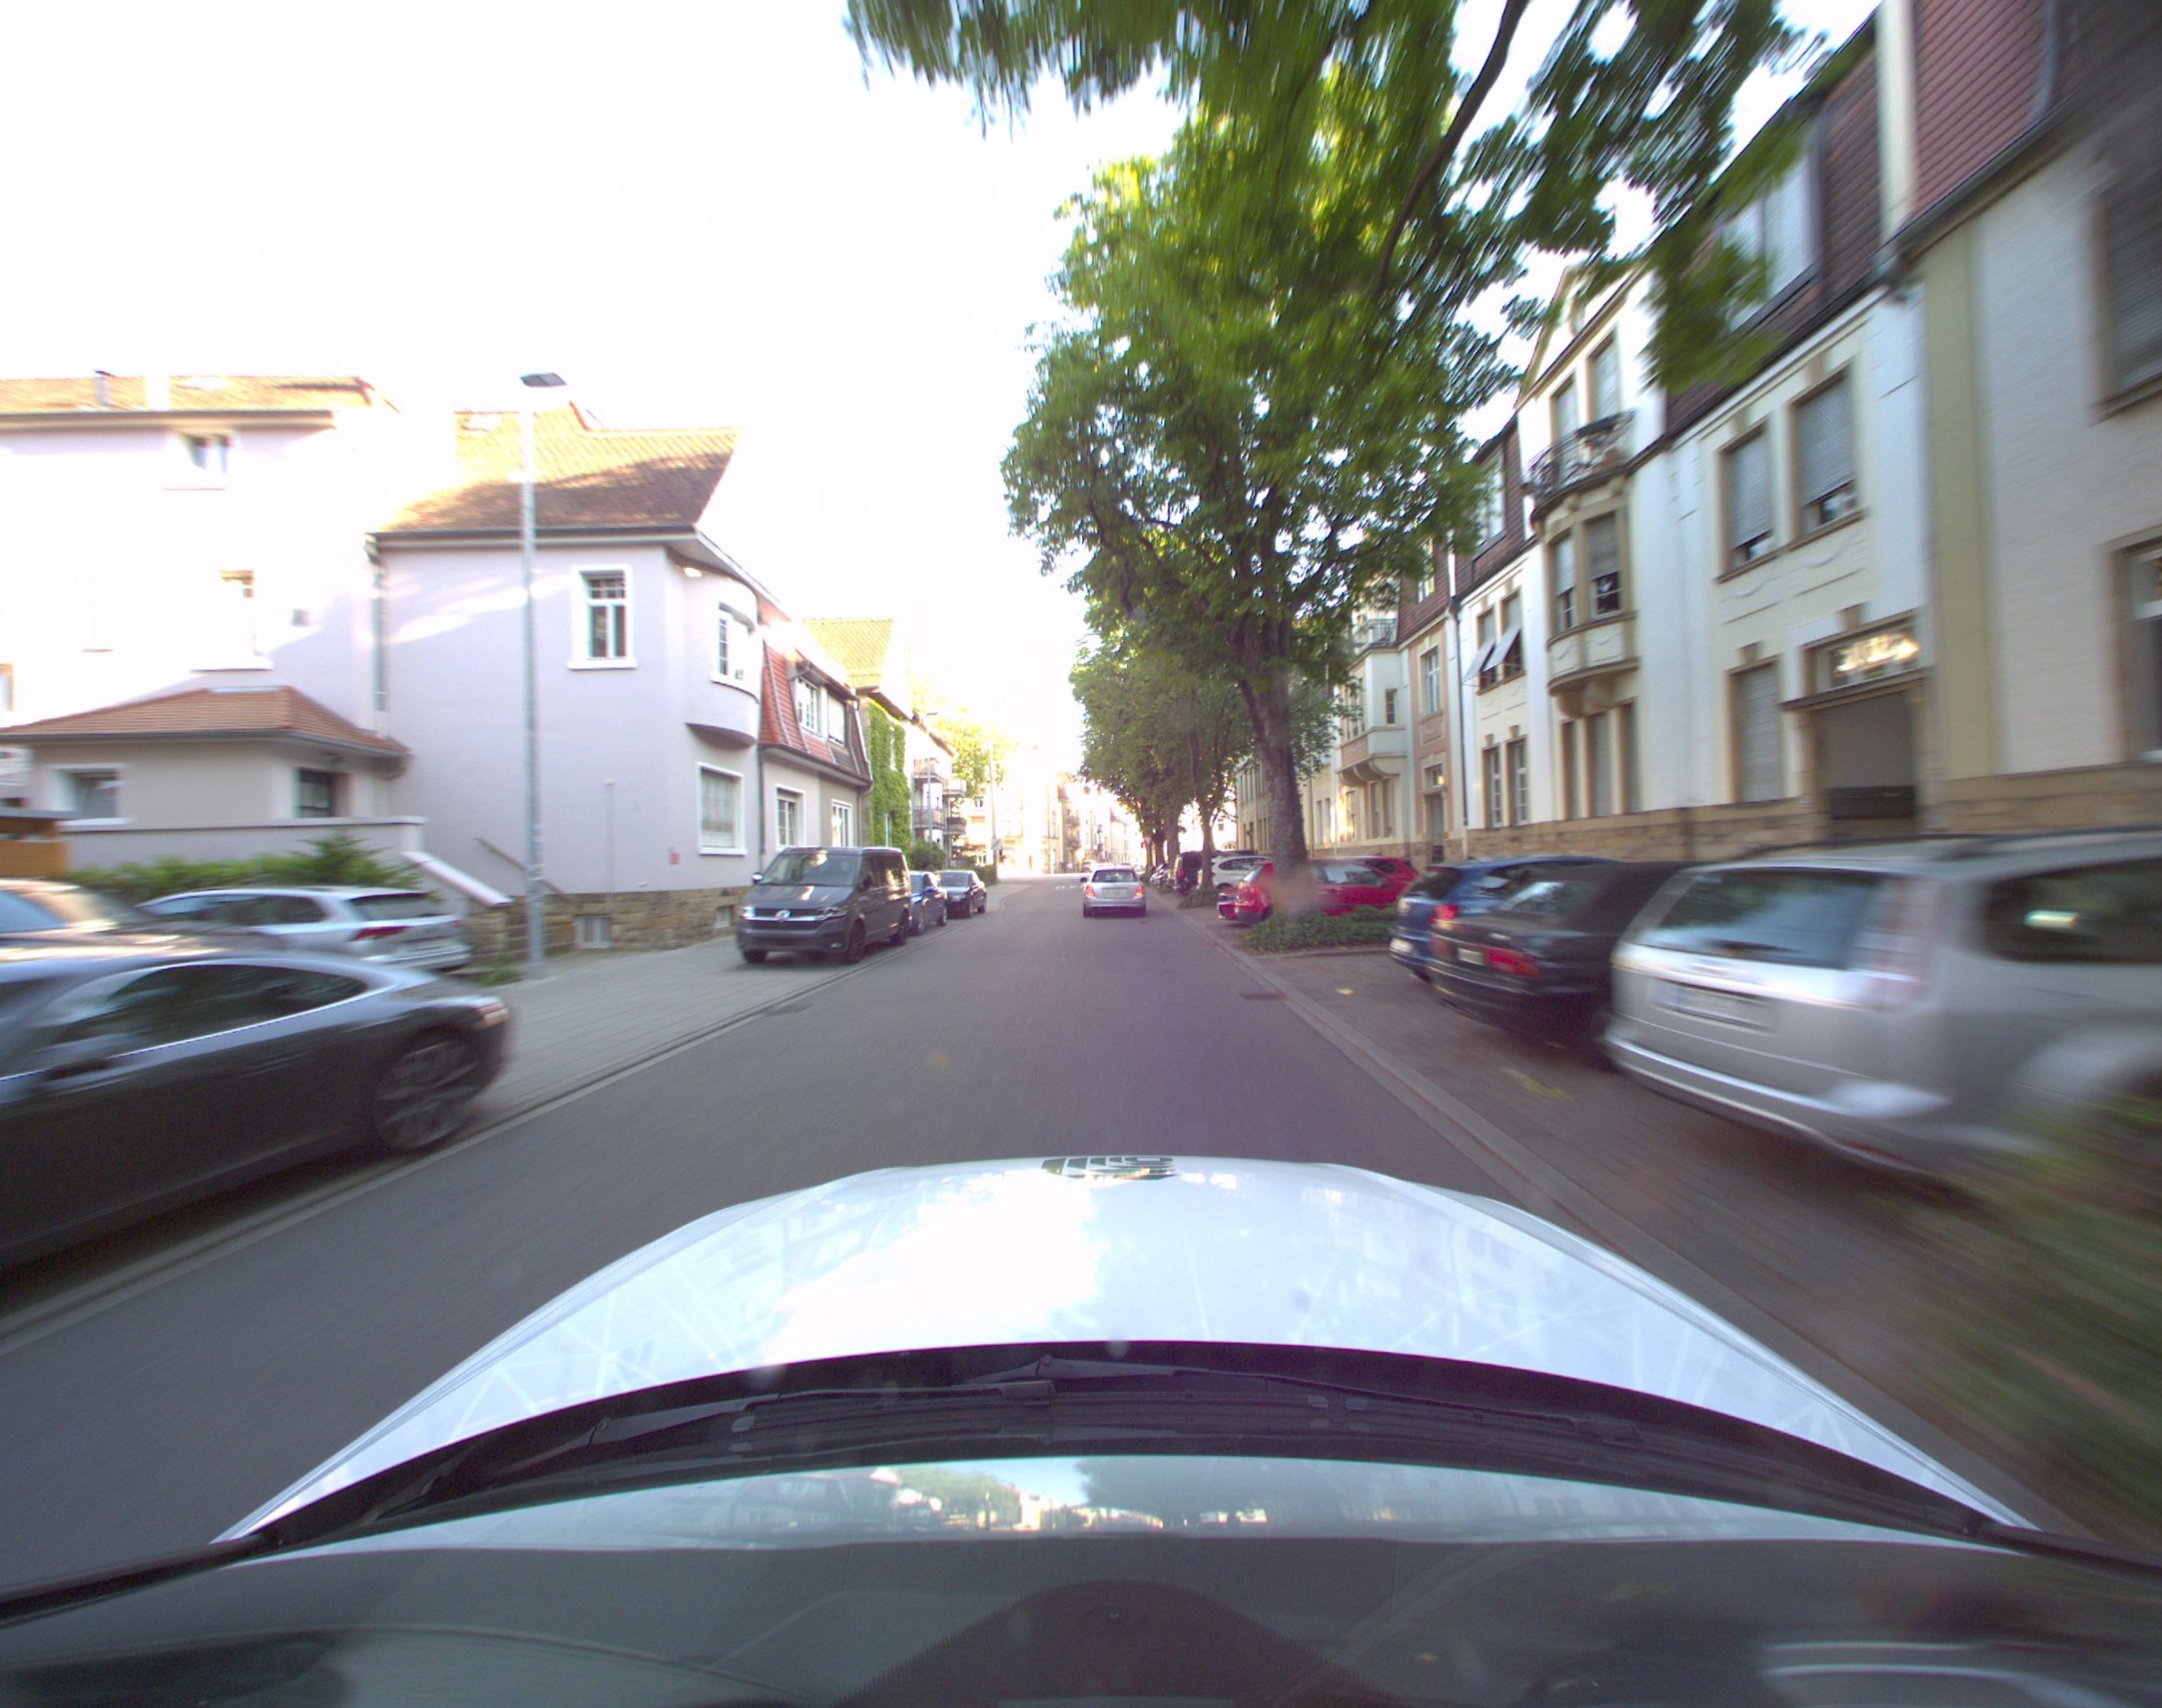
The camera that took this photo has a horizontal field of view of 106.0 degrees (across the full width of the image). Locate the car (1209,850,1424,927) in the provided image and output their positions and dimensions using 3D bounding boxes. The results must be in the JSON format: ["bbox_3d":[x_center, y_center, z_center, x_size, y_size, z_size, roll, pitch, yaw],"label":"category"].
[{"bbox_3d":[5.276,0.768,18.706,4.391,1.419,1.879,-4,-1,4],"label":"car"}]

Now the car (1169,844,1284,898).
[{"bbox_3d":[5.771,0.684,32.702,4.206,1.896,1.905,-3,-1,-1],"label":"car"}]

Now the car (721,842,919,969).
[{"bbox_3d":[-4.532,0.814,15.048,1.975,1.947,4.852,-1,0,1],"label":"car"}]

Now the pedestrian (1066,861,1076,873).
[{"bbox_3d":[-1.416,1.842,116.558,1.215,1.722,1.505,-1,-1,5],"label":"pedestrian"}]

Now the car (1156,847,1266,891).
[{"bbox_3d":[6.293,0.727,39.956,5.038,1.989,2.071,-2,0,-1],"label":"car"}]

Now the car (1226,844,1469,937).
[{"bbox_3d":[5.112,0.699,16.109,4.171,1.475,1.853,-4,-1,4],"label":"car"}]

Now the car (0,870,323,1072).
[{"bbox_3d":[-10.014,1.021,7.668,3.853,1.621,1.896,-1,0,-2],"label":"car"}]

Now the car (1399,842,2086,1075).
[{"bbox_3d":[4.706,0.707,6.290,3.779,1.438,1.818,-2,-1,1],"label":"car"}]

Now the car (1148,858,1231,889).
[{"bbox_3d":[5.946,1.059,44.888,4.275,1.417,1.876,-3,0,-1],"label":"car"}]

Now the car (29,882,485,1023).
[{"bbox_3d":[-9.974,1.144,10.110,3.853,1.443,1.634,-1,0,-3],"label":"car"}]

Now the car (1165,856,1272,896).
[{"bbox_3d":[5.891,0.936,35.247,4.275,1.541,1.876,-2,0,-1],"label":"car"}]

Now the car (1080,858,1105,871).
[{"bbox_3d":[1.506,1.316,101.744,1.978,1.585,4.018,-2,0,18],"label":"car"}]

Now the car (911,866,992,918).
[{"bbox_3d":[-4.021,1.139,25.904,1.688,1.447,4.360,-1,0,2],"label":"car"}]

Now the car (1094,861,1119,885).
[{"bbox_3d":[1.765,1.297,56.373,1.617,1.570,3.682,-2,0,3],"label":"car"}]

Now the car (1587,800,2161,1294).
[{"bbox_3d":[4.838,0.586,3.636,4.138,1.577,1.710,-2,-1,-4],"label":"car"}]

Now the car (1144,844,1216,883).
[{"bbox_3d":[6.407,0.636,52.801,4.375,2.364,1.999,-1,0,-1],"label":"car"}]

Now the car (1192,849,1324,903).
[{"bbox_3d":[6.006,0.745,27.965,4.095,1.571,1.877,-3,-1,2],"label":"car"}]

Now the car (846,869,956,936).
[{"bbox_3d":[-4.380,1.127,20.440,1.647,1.447,4.239,0,0,2],"label":"car"}]

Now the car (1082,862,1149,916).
[{"bbox_3d":[1.008,0.975,23.778,1.777,1.437,3.853,-1,-1,2],"label":"car"}]

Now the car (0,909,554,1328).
[{"bbox_3d":[-4.607,1.056,3.633,1.524,1.319,4.231,-1,0,4],"label":"car"}]

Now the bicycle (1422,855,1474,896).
[{"bbox_3d":[10.126,0.574,22.552,0.472,1.056,2.045,-4,-1,1],"label":"bicycle"}]

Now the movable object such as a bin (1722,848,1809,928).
[{"bbox_3d":[9.767,0.478,11.644,0.697,1.049,0.541,-5,-1,1],"label":"movable object such as a bin"}]

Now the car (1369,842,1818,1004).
[{"bbox_3d":[5.253,0.692,8.740,3.776,1.483,1.562,-2,-1,3],"label":"car"}]

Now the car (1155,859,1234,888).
[{"bbox_3d":[6.563,1.091,47.322,4.275,1.541,1.898,-2,0,-1],"label":"car"}]
